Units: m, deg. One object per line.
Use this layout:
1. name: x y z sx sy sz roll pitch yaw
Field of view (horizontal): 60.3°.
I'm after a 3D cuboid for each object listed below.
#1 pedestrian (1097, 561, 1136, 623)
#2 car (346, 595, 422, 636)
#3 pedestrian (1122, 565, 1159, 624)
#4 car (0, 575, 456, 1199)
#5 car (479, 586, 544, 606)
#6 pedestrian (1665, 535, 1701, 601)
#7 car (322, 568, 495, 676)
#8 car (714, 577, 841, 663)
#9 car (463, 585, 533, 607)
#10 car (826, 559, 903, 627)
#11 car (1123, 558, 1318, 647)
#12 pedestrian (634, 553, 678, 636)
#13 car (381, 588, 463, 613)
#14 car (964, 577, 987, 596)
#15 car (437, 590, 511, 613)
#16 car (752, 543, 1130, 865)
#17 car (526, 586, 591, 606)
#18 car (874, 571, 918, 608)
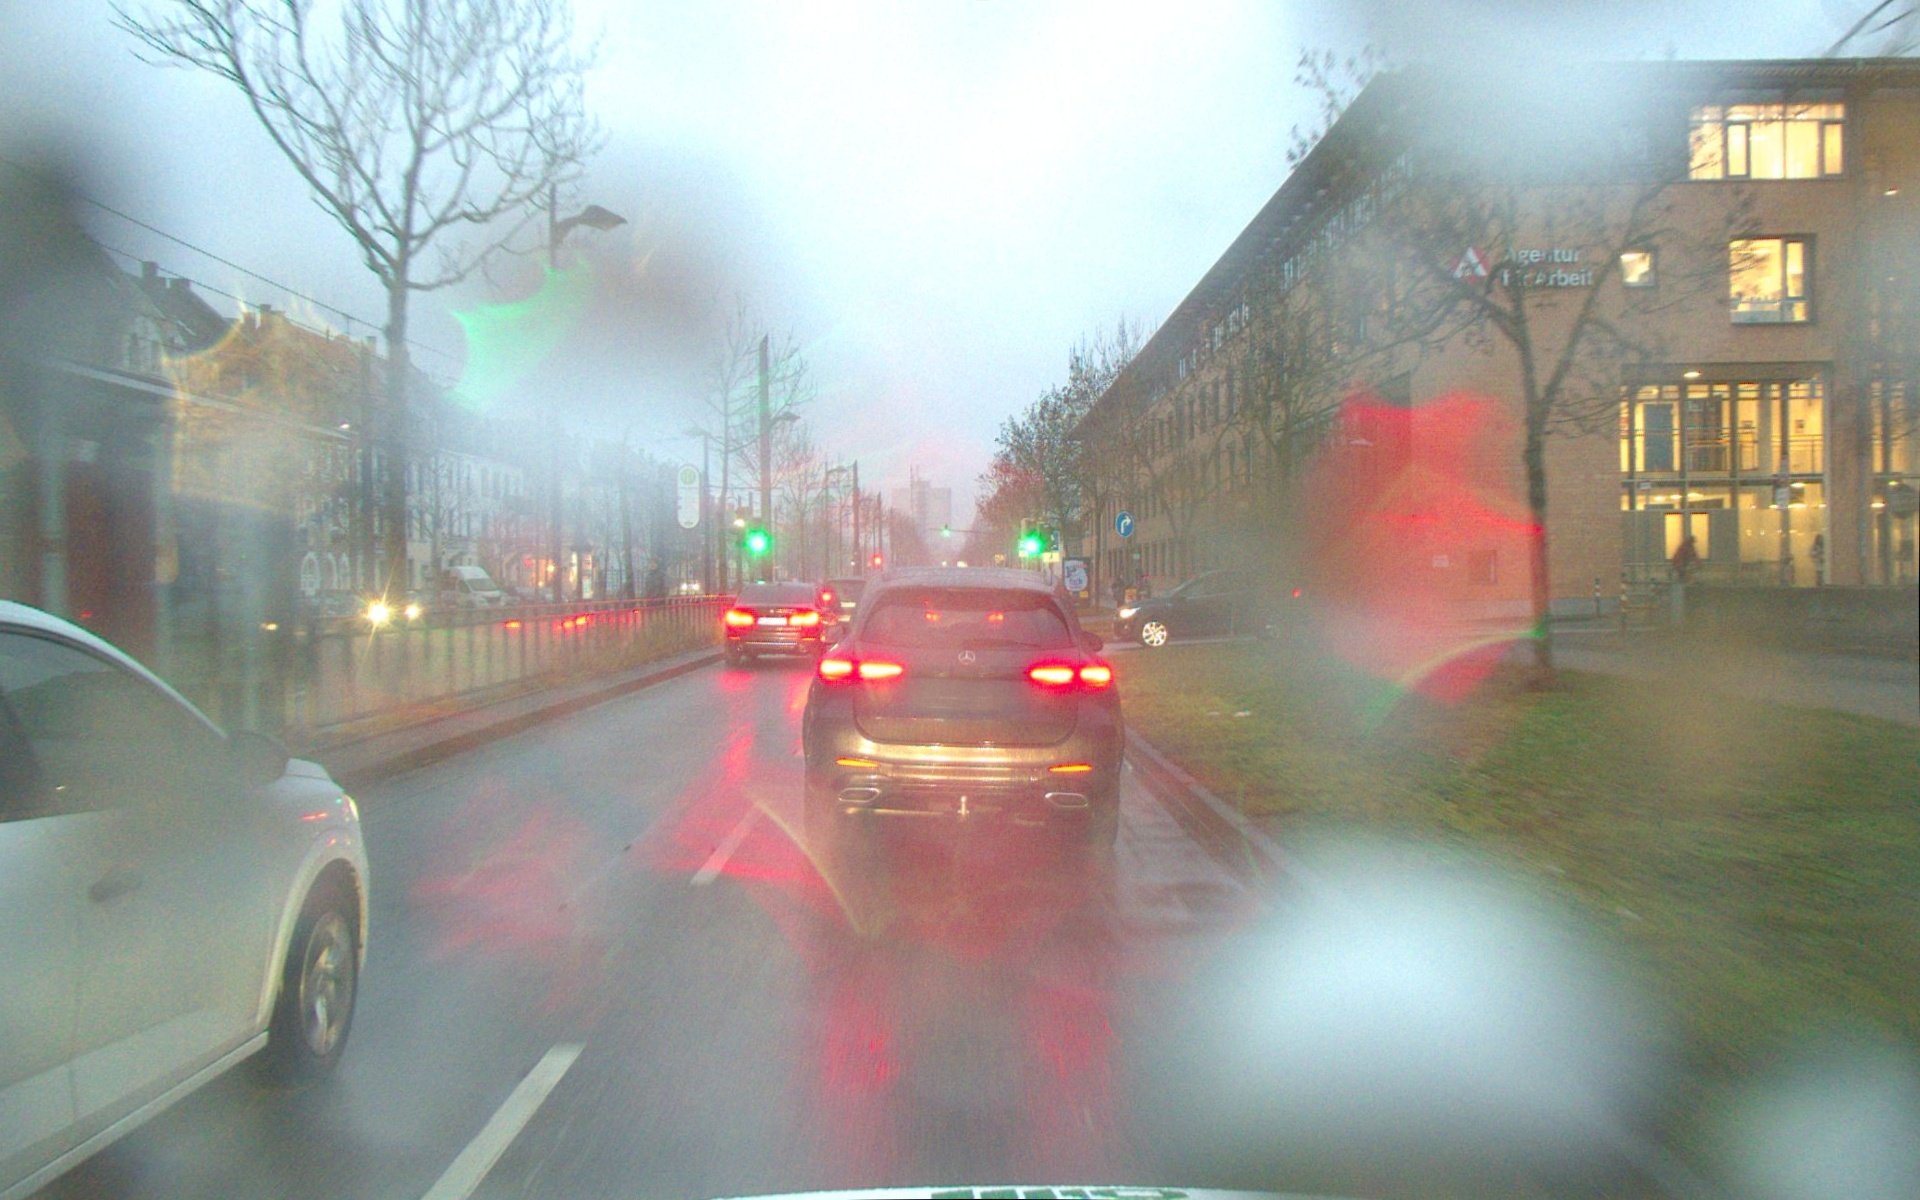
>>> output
1. pedestrian: 4.171 -0.219 44.184 0.888 1.624 0.499 -1 1 42
2. car: -22.370 0.577 64.349 1.620 1.422 3.767 -2 1 -1
3. pedestrian: 5.065 -0.150 46.432 0.888 1.624 0.499 -1 1 42
4. car: -2.539 0.737 3.507 1.592 1.513 4.001 -1 1 1
5. car: -29.179 -0.274 107.697 3.694 1.176 1.651 -2 1 5
6. pedestrian: 18.706 -0.829 42.826 0.618 1.666 0.737 -2 1 5
7. car: -10.437 0.367 31.618 1.953 1.854 4.000 -2 1 -1
8. car: -3.275 0.319 30.355 1.953 1.422 3.999 -1 1 -2
9. car: -28.158 -0.235 100.899 3.694 1.176 1.651 -2 1 5
10. car: -2.664 -0.225 47.038 1.953 1.796 4.000 -1 1 -1
11. car: 5.432 0.033 34.827 3.781 1.587 1.766 -4 1 1
12. pedestrian: -5.898 -0.106 32.100 0.684 1.579 0.669 -2 1 -1
13. car: -28.440 0.032 87.488 3.694 1.176 1.651 -2 1 5
14. car: 1.415 -1.262 150.040 1.953 1.626 4.000 -2 1 -1
15. car: -27.852 0.079 94.777 3.694 1.176 1.651 -2 1 5
16. car: -0.096 0.517 10.687 1.950 1.644 4.000 -1 1 0
17. car: -27.666 -0.263 113.967 3.902 1.248 2.002 -1 1 6
18. car: -2.997 -0.508 78.375 1.953 1.646 3.999 -1 1 -1
